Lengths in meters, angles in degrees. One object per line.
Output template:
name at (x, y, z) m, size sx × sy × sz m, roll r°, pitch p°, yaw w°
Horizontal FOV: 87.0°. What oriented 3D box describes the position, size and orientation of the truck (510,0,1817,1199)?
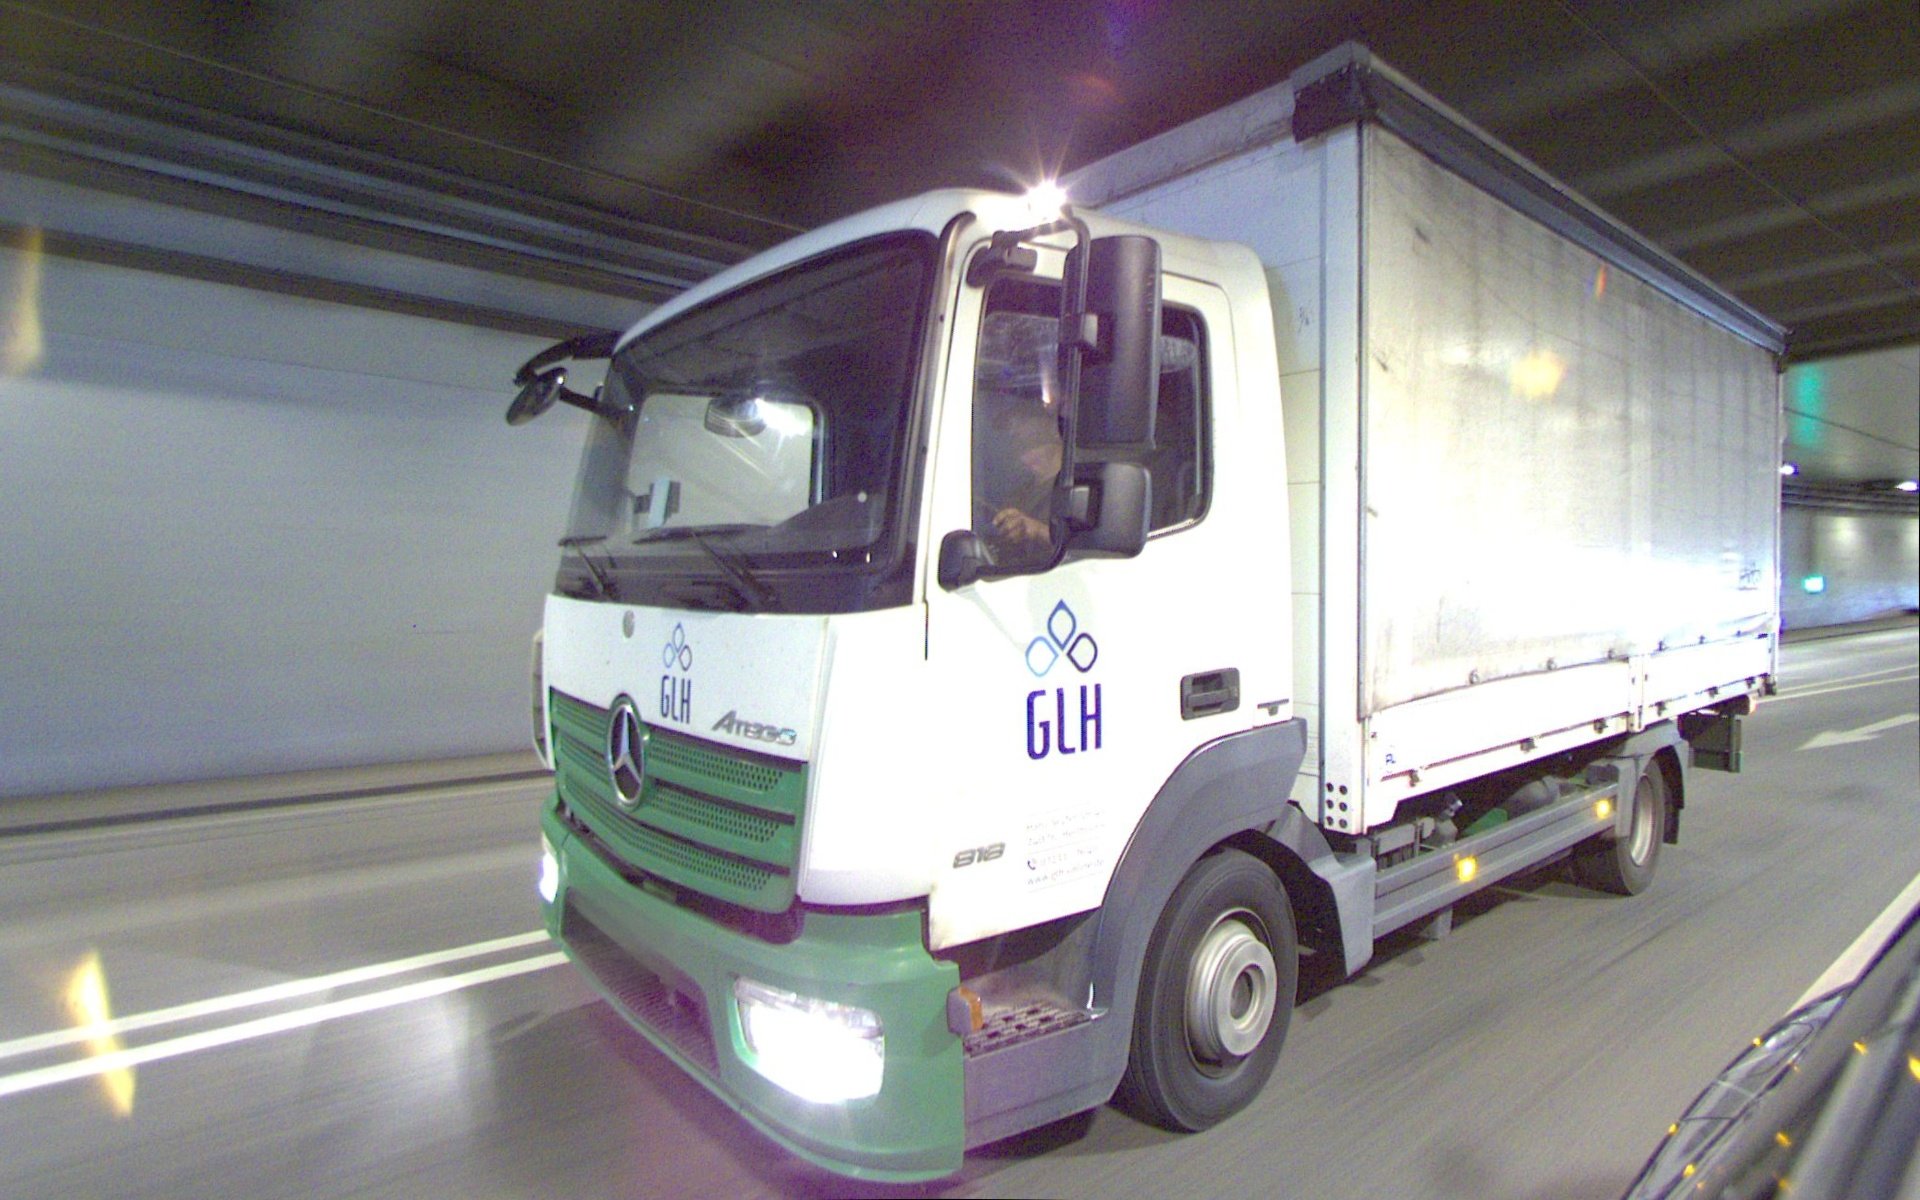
truck at (1.862, -0.183, 5.096) m, size 7.115 × 3.221 × 2.559 m, roll 1°, pitch 0°, yaw -40°
